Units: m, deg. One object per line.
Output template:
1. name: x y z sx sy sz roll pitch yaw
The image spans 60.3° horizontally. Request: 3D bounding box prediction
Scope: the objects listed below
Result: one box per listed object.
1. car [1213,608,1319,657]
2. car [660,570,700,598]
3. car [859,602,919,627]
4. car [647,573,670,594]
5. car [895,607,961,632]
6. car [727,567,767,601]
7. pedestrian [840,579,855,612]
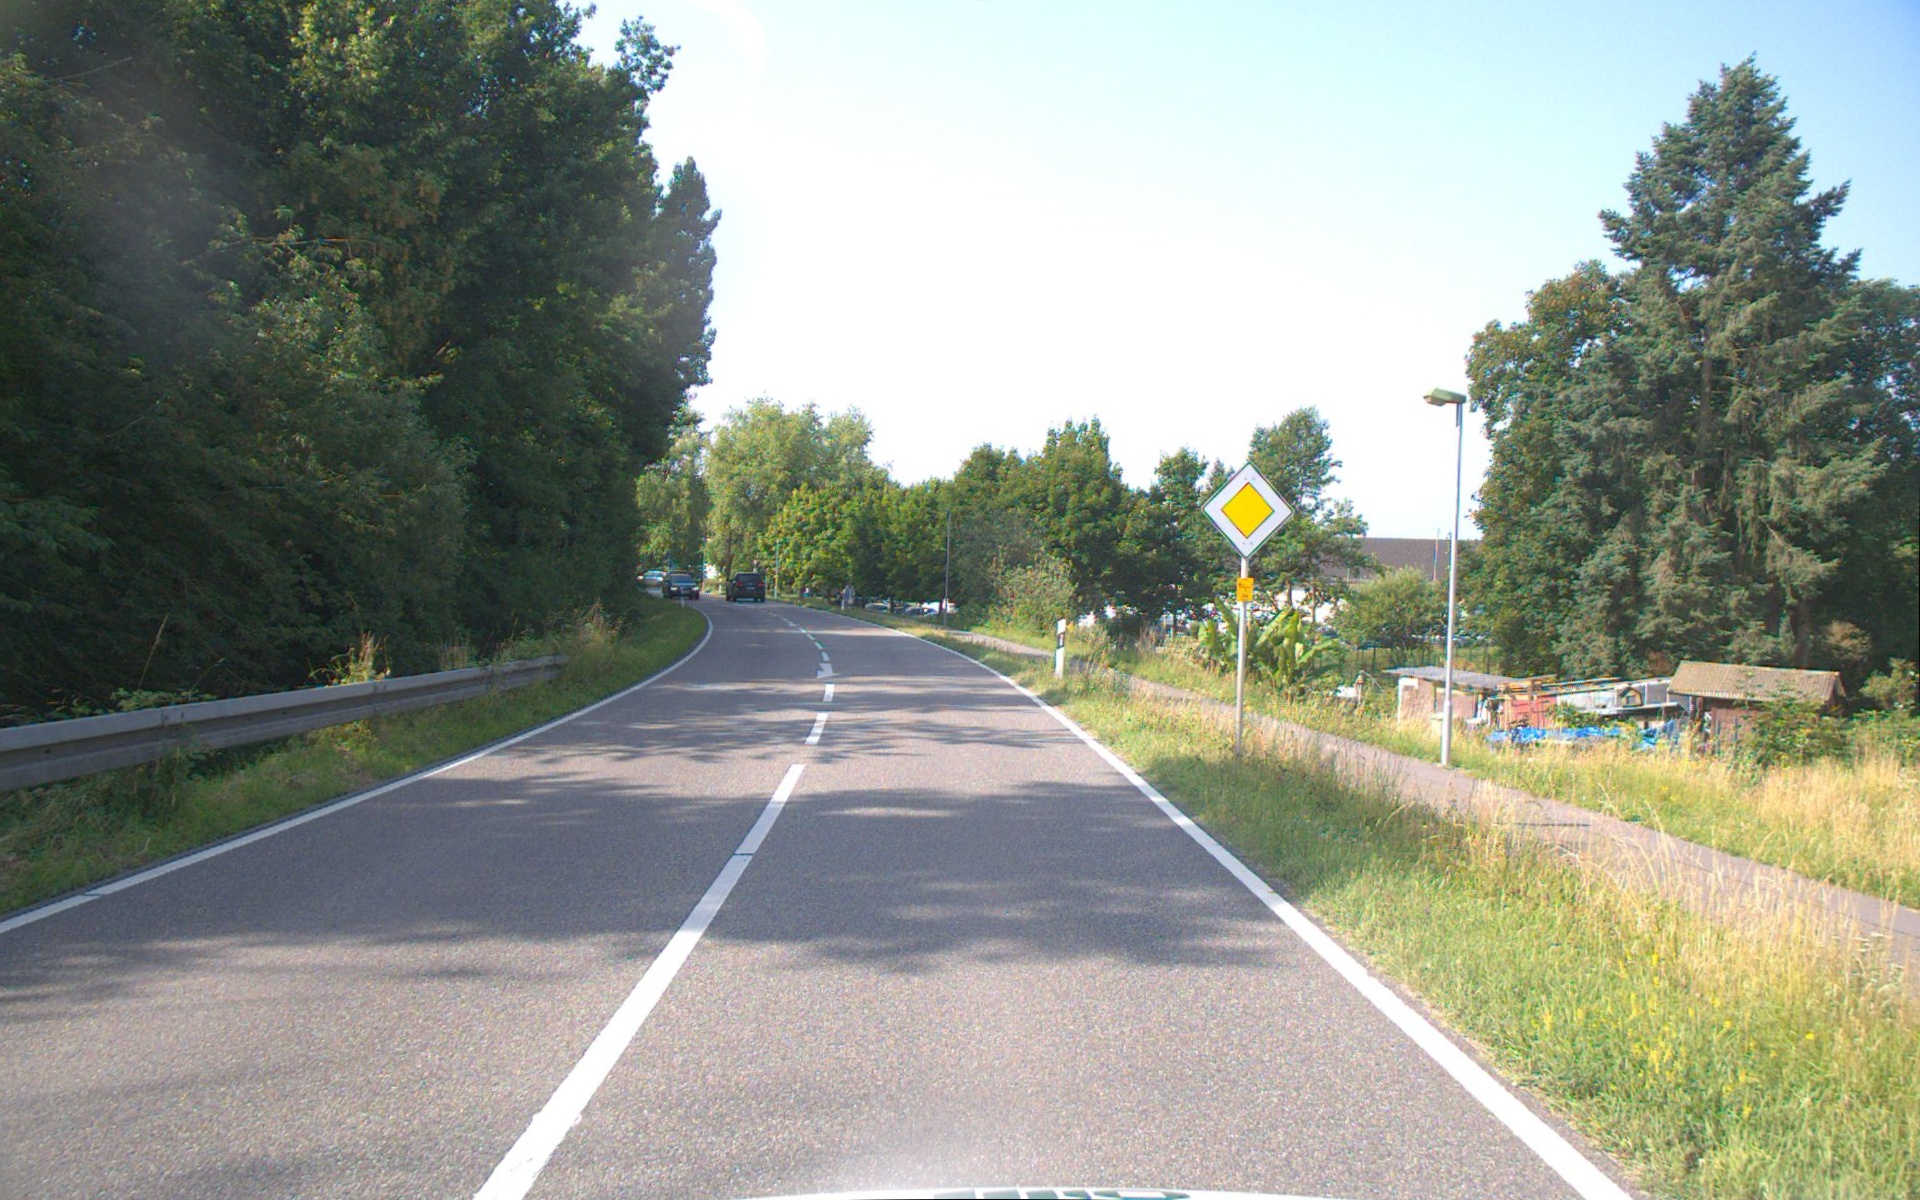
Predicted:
1. car: 18.168 1.892 98.248 5.668 2.714 2.399 2 0 35
2. car: -16.937 -0.993 100.096 1.724 1.499 3.979 2 1 -19
3. car: -5.218 1.069 121.875 4.160 1.709 1.885 2 0 -13
4. car: -28.078 -1.580 154.108 1.967 1.801 3.993 2 1 -8
5. car: -2.138 1.295 111.036 4.183 1.497 1.840 2 0 -9
6. car: -12.344 -0.936 95.773 1.892 1.801 3.988 2 1 -13
7. pedestrian: -6.286 -0.254 92.273 0.739 1.806 0.972 2 0 -2
